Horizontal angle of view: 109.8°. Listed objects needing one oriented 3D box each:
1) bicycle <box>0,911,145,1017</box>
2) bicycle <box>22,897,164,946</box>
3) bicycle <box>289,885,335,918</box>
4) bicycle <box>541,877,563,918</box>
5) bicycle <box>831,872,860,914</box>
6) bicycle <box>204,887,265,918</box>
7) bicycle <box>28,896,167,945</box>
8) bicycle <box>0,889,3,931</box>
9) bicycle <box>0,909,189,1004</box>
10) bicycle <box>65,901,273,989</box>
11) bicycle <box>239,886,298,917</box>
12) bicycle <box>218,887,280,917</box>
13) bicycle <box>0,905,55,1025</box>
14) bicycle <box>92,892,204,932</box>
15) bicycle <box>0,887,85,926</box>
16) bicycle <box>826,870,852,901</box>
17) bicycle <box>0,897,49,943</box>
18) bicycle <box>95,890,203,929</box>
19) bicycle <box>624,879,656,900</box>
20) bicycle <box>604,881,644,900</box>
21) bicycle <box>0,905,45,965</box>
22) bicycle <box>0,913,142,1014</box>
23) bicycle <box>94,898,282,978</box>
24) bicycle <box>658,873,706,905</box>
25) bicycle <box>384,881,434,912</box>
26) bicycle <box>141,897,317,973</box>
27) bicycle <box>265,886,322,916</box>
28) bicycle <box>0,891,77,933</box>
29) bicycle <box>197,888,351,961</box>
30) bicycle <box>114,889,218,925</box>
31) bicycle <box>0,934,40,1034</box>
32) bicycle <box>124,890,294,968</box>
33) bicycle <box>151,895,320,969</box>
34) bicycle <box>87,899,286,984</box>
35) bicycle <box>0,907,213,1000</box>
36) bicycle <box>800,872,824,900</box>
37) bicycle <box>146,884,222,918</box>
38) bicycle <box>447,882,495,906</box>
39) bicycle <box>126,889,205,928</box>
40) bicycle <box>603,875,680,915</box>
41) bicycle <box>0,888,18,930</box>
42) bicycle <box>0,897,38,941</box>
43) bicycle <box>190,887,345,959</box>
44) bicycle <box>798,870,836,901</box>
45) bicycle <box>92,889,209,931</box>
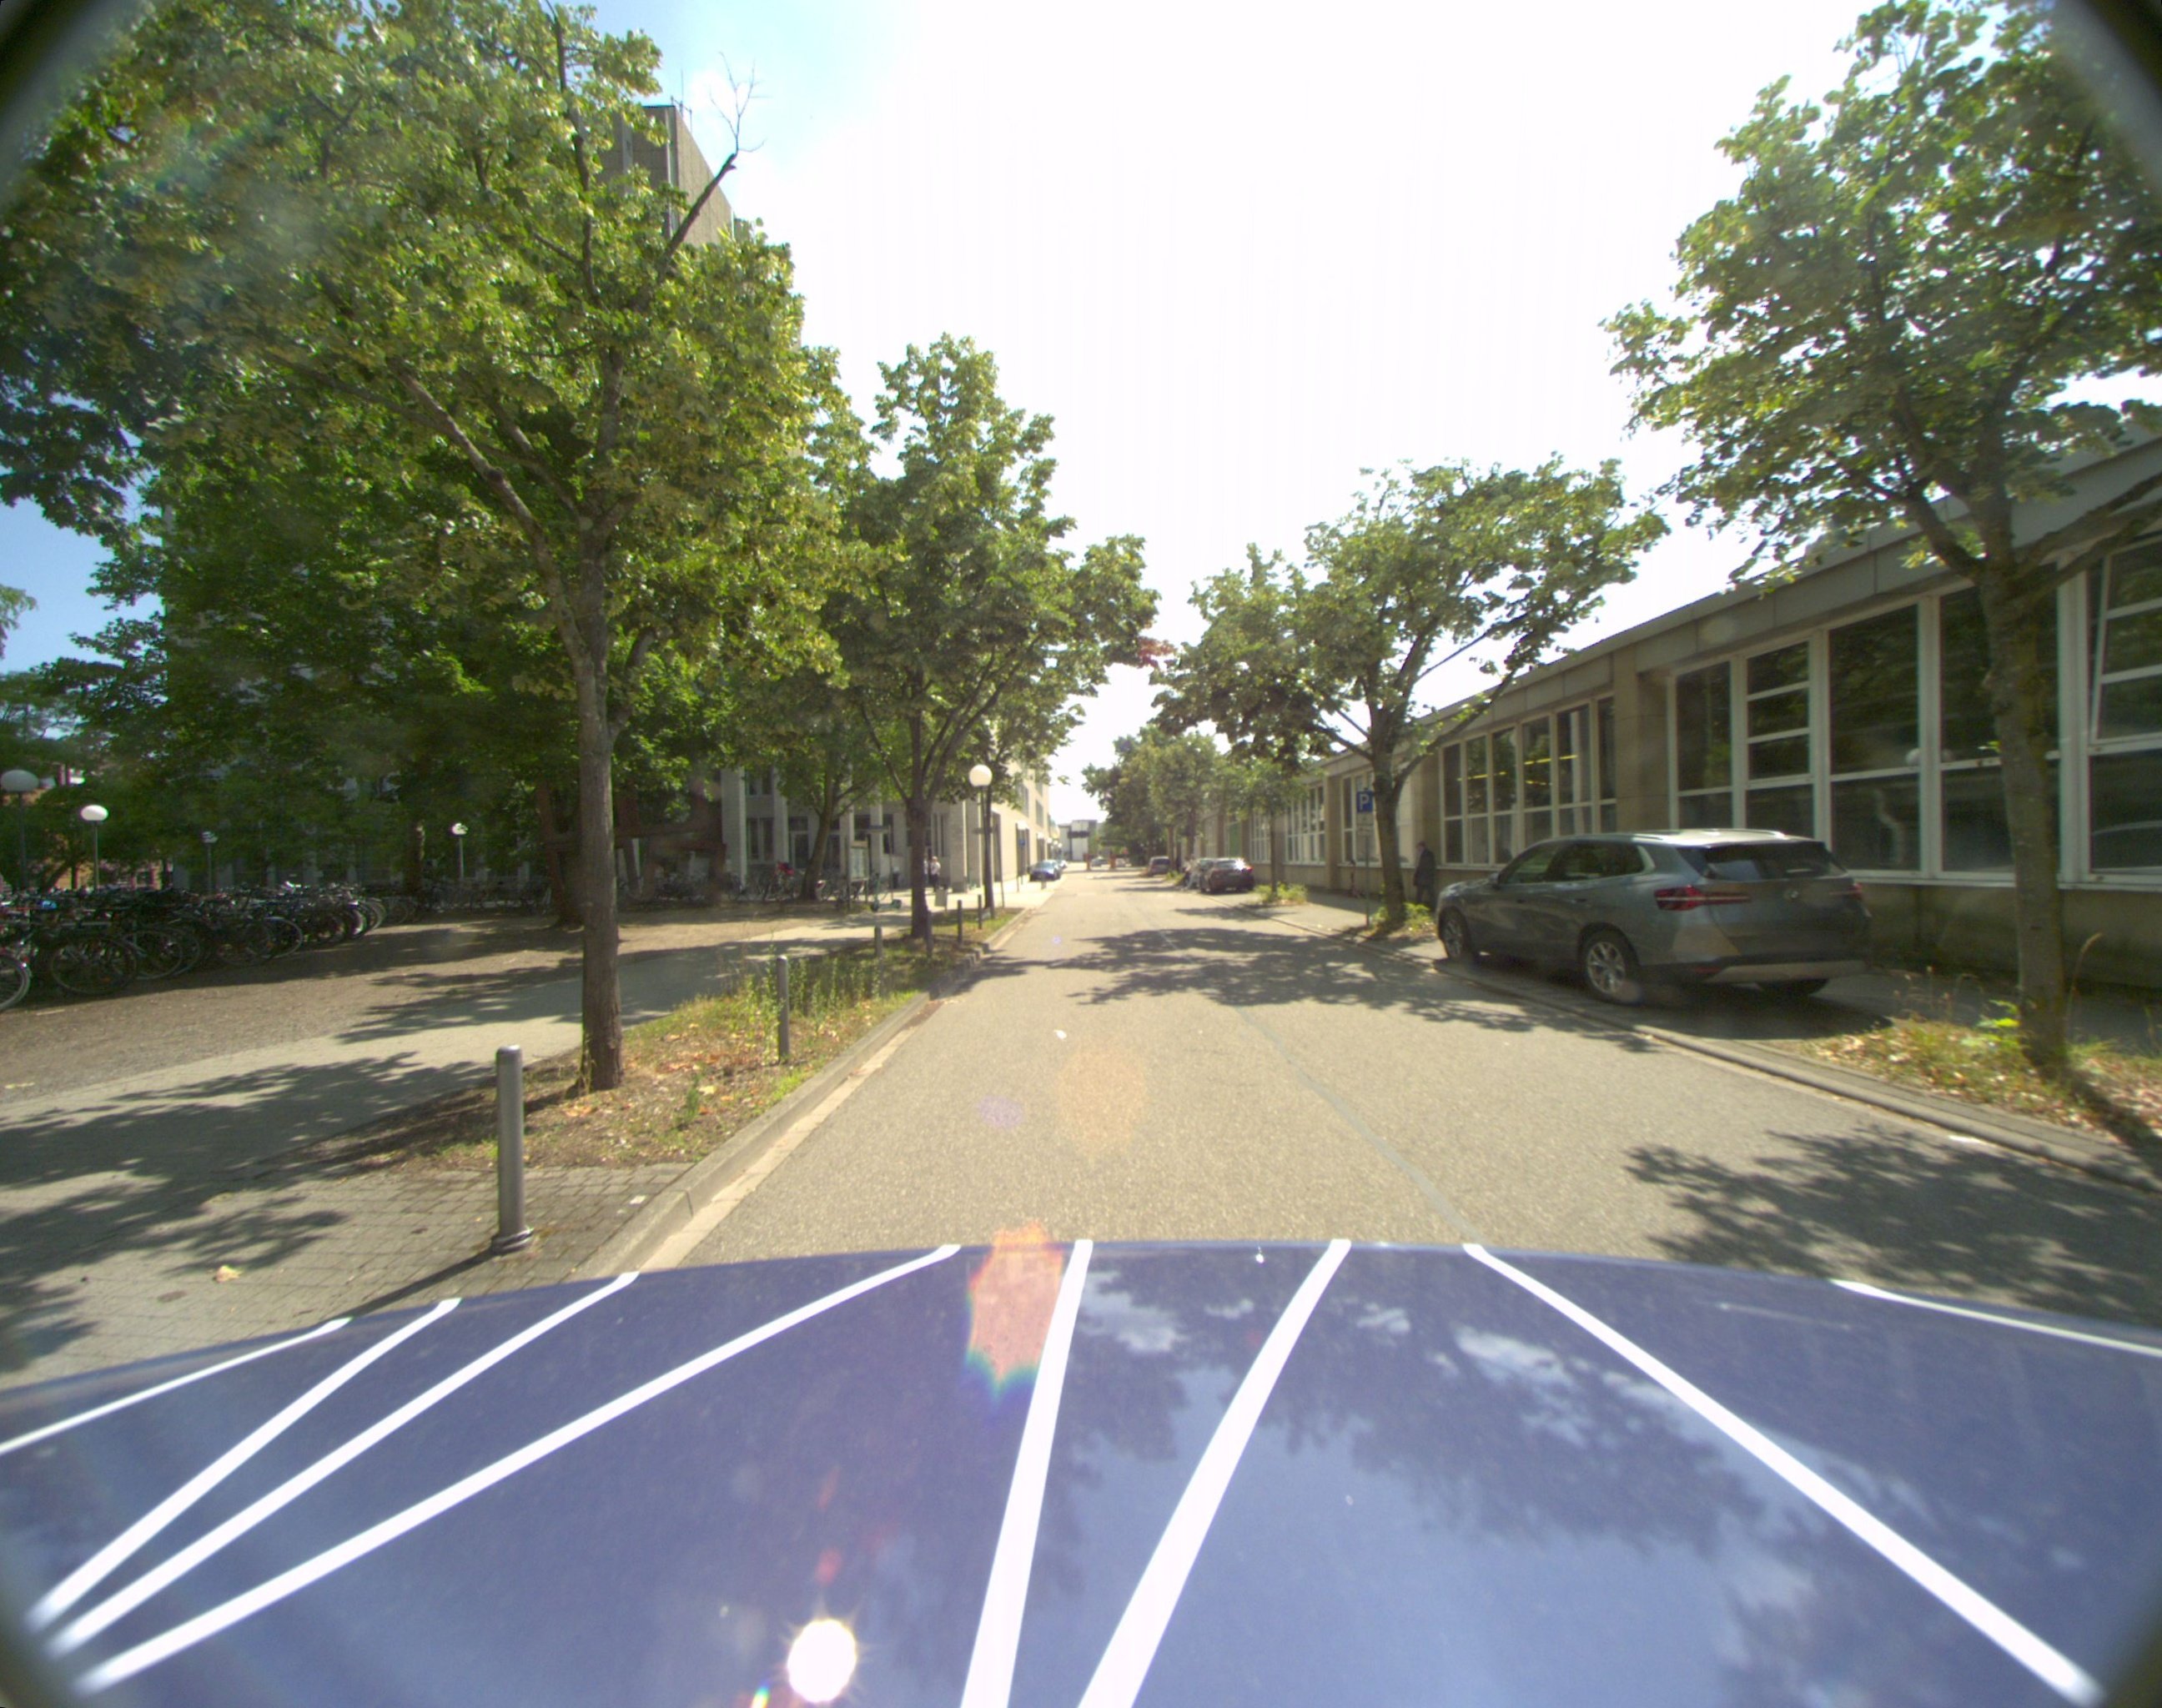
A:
[{"bbox_3d":[-11.430,1.183,8.103,1.742,1.046,0.493,-1,0,-36],"label":"bicycle"},{"bbox_3d":[-22.407,1.514,17.285,1.908,0.973,0.477,0,0,-43],"label":"bicycle"},{"bbox_3d":[-26.792,1.637,26.484,0.353,1.077,1.470,-1,0,-12],"label":"bicycle"},{"bbox_3d":[-15.474,1.258,22.203,0.476,1.103,1.666,-2,1,-36],"label":"bicycle"},{"bbox_3d":[-7.055,1.143,22.769,0.629,1.078,1.684,-3,3,-22],"label":"bicycle"},{"bbox_3d":[-32.865,1.870,29.534,0.529,1.077,1.688,-4,-1,-4],"label":"bicycle"},{"bbox_3d":[-22.659,1.516,17.566,1.908,0.973,0.477,0,0,-43],"label":"bicycle"},{"bbox_3d":[-25.323,1.289,16.826,1.600,0.973,0.403,0,0,-39],"label":"bicycle"},{"bbox_3d":[-12.241,1.230,9.220,1.796,1.022,0.381,-1,0,-31],"label":"bicycle"},{"bbox_3d":[-12.571,1.221,10.543,1.796,1.063,0.425,-1,0,-30],"label":"bicycle"},{"bbox_3d":[-30.974,1.783,28.989,0.478,1.077,1.688,-4,-1,-4],"label":"bicycle"},{"bbox_3d":[-31.616,1.808,28.917,0.529,1.077,1.688,-4,-1,-4],"label":"bicycle"},{"bbox_3d":[-11.376,1.119,7.292,1.742,1.148,0.493,-1,0,-36],"label":"bicycle"},{"bbox_3d":[-25.468,1.571,20.795,0.477,0.973,1.908,0,0,41],"label":"bicycle"},{"bbox_3d":[-32.184,1.626,23.456,0.477,1.077,1.691,-4,-1,39],"label":"bicycle"},{"bbox_3d":[-9.318,1.203,29.312,0.561,1.134,1.490,0,-1,-2],"label":"bicycle"},{"bbox_3d":[-26.440,1.641,18.515,0.352,1.077,1.474,-4,0,35],"label":"bicycle"},{"bbox_3d":[-26.511,1.557,21.661,0.477,0.973,1.908,0,0,41],"label":"bicycle"},{"bbox_3d":[-21.713,1.744,37.423,0.337,0.894,1.777,-2,0,6],"label":"bicycle"},{"bbox_3d":[-22.546,1.792,37.511,0.447,0.894,1.779,-2,-1,19],"label":"bicycle"},{"bbox_3d":[-18.822,1.381,12.624,1.907,0.973,0.378,0,0,-29],"label":"bicycle"},{"bbox_3d":[-11.853,1.224,8.396,1.800,1.022,0.439,-1,0,-31],"label":"bicycle"},{"bbox_3d":[-13.422,1.240,11.485,1.796,1.063,0.425,-1,0,-28],"label":"bicycle"},{"bbox_3d":[-13.950,1.216,26.603,0.463,1.071,1.829,0,-2,9],"label":"bicycle"},{"bbox_3d":[-25.773,1.621,29.173,0.478,1.123,1.688,-4,-1,-4],"label":"bicycle"},{"bbox_3d":[-13.363,1.250,11.981,1.796,1.063,0.425,-1,0,-28],"label":"bicycle"},{"bbox_3d":[-30.070,1.780,29.044,0.478,1.077,1.688,-4,-1,-4],"label":"bicycle"},{"bbox_3d":[-29.912,1.660,21.521,0.477,1.077,1.691,-4,-1,45],"label":"bicycle"},{"bbox_3d":[-14.062,1.203,13.303,1.796,1.163,0.401,-1,0,-33],"label":"bicycle"},{"bbox_3d":[-27.221,1.556,22.636,1.907,0.973,0.477,0,0,-37],"label":"bicycle"},{"bbox_3d":[-11.012,1.251,6.923,1.741,0.904,0.493,-1,0,-29],"label":"bicycle"},{"bbox_3d":[-14.387,1.213,12.606,1.796,1.163,0.401,-1,0,-33],"label":"bicycle"},{"bbox_3d":[-13.783,1.253,12.454,1.796,1.063,0.425,-1,0,-35],"label":"bicycle"},{"bbox_3d":[-12.783,1.222,10.928,1.796,1.063,0.425,-1,0,-30],"label":"bicycle"},{"bbox_3d":[-12.340,1.228,9.578,1.796,1.022,0.381,-1,0,-31],"label":"bicycle"},{"bbox_3d":[-10.493,1.241,29.645,0.460,1.079,1.440,0,-1,-2],"label":"bicycle"},{"bbox_3d":[-32.439,1.684,27.500,0.477,1.077,1.691,-4,-1,32],"label":"bicycle"},{"bbox_3d":[-29.584,1.938,36.873,1.832,1.097,0.570,-2,-1,-1],"label":"bicycle"},{"bbox_3d":[-28.116,1.651,23.364,0.477,1.077,1.475,-4,-1,33],"label":"bicycle"},{"bbox_3d":[-13.273,1.220,22.957,1.928,1.103,0.631,-2,1,-36],"label":"bicycle"},{"bbox_3d":[-25.841,1.287,17.336,0.377,0.973,1.806,0,0,44],"label":"bicycle"},{"bbox_3d":[-27.600,1.685,19.161,0.352,1.077,1.475,-4,-1,34],"label":"bicycle"},{"bbox_3d":[-14.623,1.210,13.715,1.848,1.163,0.401,-1,0,-33],"label":"bicycle"},{"bbox_3d":[-10.061,1.192,29.018,0.491,1.134,1.529,0,-2,20],"label":"bicycle"},{"bbox_3d":[-24.663,1.466,20.188,1.908,0.973,0.477,0,0,-44],"label":"bicycle"}]
